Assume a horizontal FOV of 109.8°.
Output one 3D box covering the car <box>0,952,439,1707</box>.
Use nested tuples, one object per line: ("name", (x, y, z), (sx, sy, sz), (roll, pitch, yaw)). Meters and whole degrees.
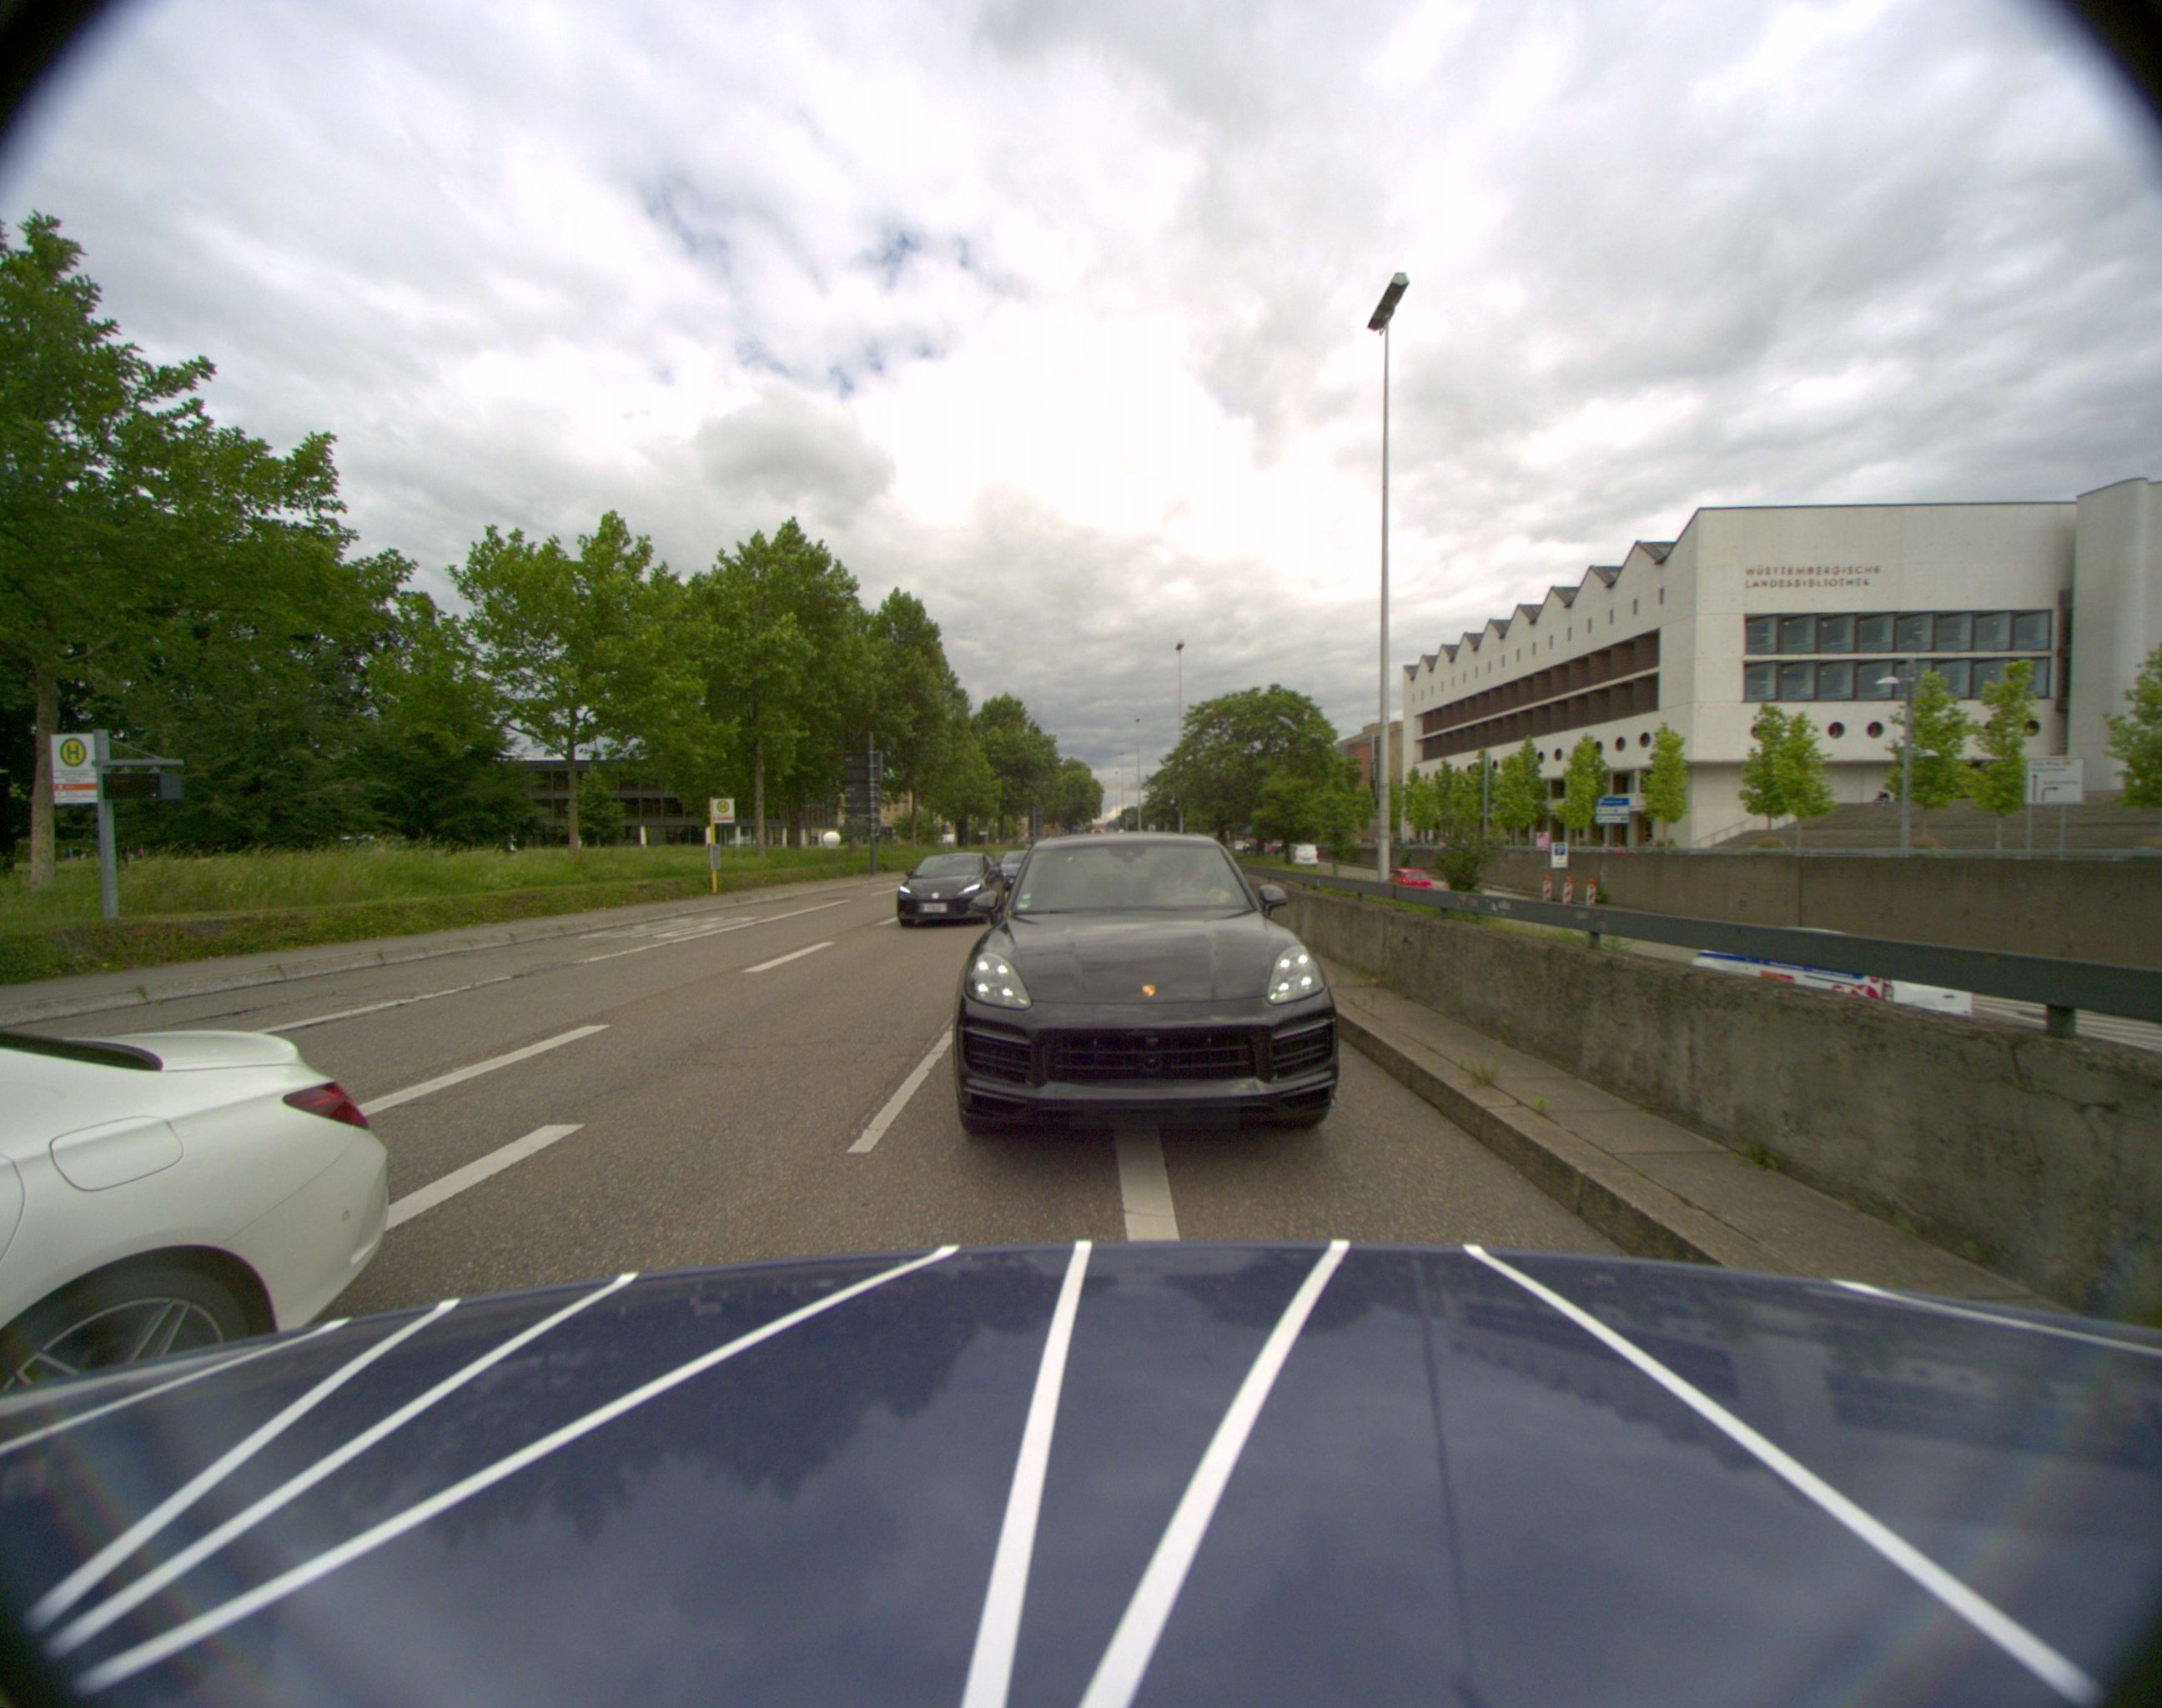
("car", (-3.182, 1.104, 0.323), (1.799, 1.412, 4.526), (-1, 1, 2))

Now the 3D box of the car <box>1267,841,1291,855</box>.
("car", (25.556, -0.805, 98.100), (1.998, 1.753, 3.999), (2, 2, 0))

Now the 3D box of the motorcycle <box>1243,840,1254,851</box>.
("motorcycle", (17.881, -0.915, 81.257), (0.687, 1.092, 2.049), (3, 4, 1))

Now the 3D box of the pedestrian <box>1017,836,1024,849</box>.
("pedestrian", (-9.630, -1.830, 120.776), (0.892, 2.002, 1.181), (-3, 2, 2))

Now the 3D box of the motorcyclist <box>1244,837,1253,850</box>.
("motorcyclist", (17.895, -1.140, 81.233), (0.671, 1.345, 0.717), (3, 4, 0))

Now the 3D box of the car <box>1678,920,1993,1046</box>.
("car", (17.116, 2.805, 17.776), (2.224, 2.002, 5.114), (-1, 1, -2))

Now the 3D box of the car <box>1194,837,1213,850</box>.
("car", (17.126, -1.494, 106.551), (1.998, 1.665, 4.516), (2, 1, 0))

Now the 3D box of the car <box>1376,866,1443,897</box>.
("car", (17.781, 1.459, 41.299), (1.998, 1.477, 4.000), (-1, 1, 2))

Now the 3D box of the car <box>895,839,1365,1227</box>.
("car", (0.328, 0.708, 5.501), (1.904, 1.581, 4.732), (-1, 1, 3))

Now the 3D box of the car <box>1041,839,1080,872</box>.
("car", (-1.186, 0.041, 46.072), (2.021, 1.823, 4.804), (-1, 1, 2))

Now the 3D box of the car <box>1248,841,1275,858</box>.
("car", (20.576, -0.506, 86.881), (1.875, 1.604, 4.386), (0, 4, -3))

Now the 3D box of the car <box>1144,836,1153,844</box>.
("car", (11.931, -2.546, 134.286), (1.372, 1.390, 3.721), (2, 1, 0))

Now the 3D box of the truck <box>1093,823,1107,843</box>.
("truck", (3.661, -4.013, 142.598), (2.357, 3.518, 9.423), (-3, 2, 2))

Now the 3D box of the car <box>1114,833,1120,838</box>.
("car", (11.655, -5.973, 246.445), (1.998, 1.753, 3.999), (2, 2, 0))

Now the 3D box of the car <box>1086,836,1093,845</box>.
("car", (2.135, -3.388, 188.856), (1.693, 2.002, 3.999), (-3, 2, 2))

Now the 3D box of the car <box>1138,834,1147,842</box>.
("car", (11.475, -2.959, 142.920), (1.372, 1.390, 3.721), (2, 1, 0))

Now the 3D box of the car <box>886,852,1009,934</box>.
("car", (-2.806, 0.767, 16.885), (1.852, 1.481, 4.092), (-1, 1, 2))

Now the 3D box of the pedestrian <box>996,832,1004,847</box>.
("pedestrian", (-11.270, -2.068, 105.871), (0.892, 2.002, 1.181), (-3, 2, 2))

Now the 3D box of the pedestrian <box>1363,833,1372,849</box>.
("pedestrian", (35.921, -1.612, 95.411), (0.722, 2.002, 1.016), (-3, 2, 2))

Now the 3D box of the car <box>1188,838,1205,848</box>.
("car", (17.164, -1.586, 113.061), (1.998, 1.390, 3.999), (2, 1, 0))

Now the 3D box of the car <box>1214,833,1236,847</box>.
("car", (17.222, -1.648, 91.124), (1.779, 1.481, 4.143), (0, 4, 0))

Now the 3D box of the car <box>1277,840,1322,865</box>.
("car", (17.811, -0.179, 62.239), (1.999, 1.630, 5.246), (5, 3, -1))

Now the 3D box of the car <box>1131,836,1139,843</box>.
("car", (11.339, -2.997, 158.754), (1.372, 1.389, 3.722), (-1, -1, -1))

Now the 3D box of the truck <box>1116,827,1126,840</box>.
("truck", (10.904, -5.675, 207.978), (2.576, 3.289, 8.078), (-3, 2, 2))

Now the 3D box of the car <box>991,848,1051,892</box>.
("car", (-2.174, 0.545, 28.556), (1.805, 1.426, 4.015), (-1, 1, 2))

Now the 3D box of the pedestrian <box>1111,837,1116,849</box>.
("pedestrian", (5.355, -1.803, 125.014), (0.792, 2.002, 0.741), (-1, 0, 2))

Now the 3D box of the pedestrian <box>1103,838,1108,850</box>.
("pedestrian", (4.175, -1.705, 127.359), (0.792, 2.002, 0.741), (-1, 0, 2))
